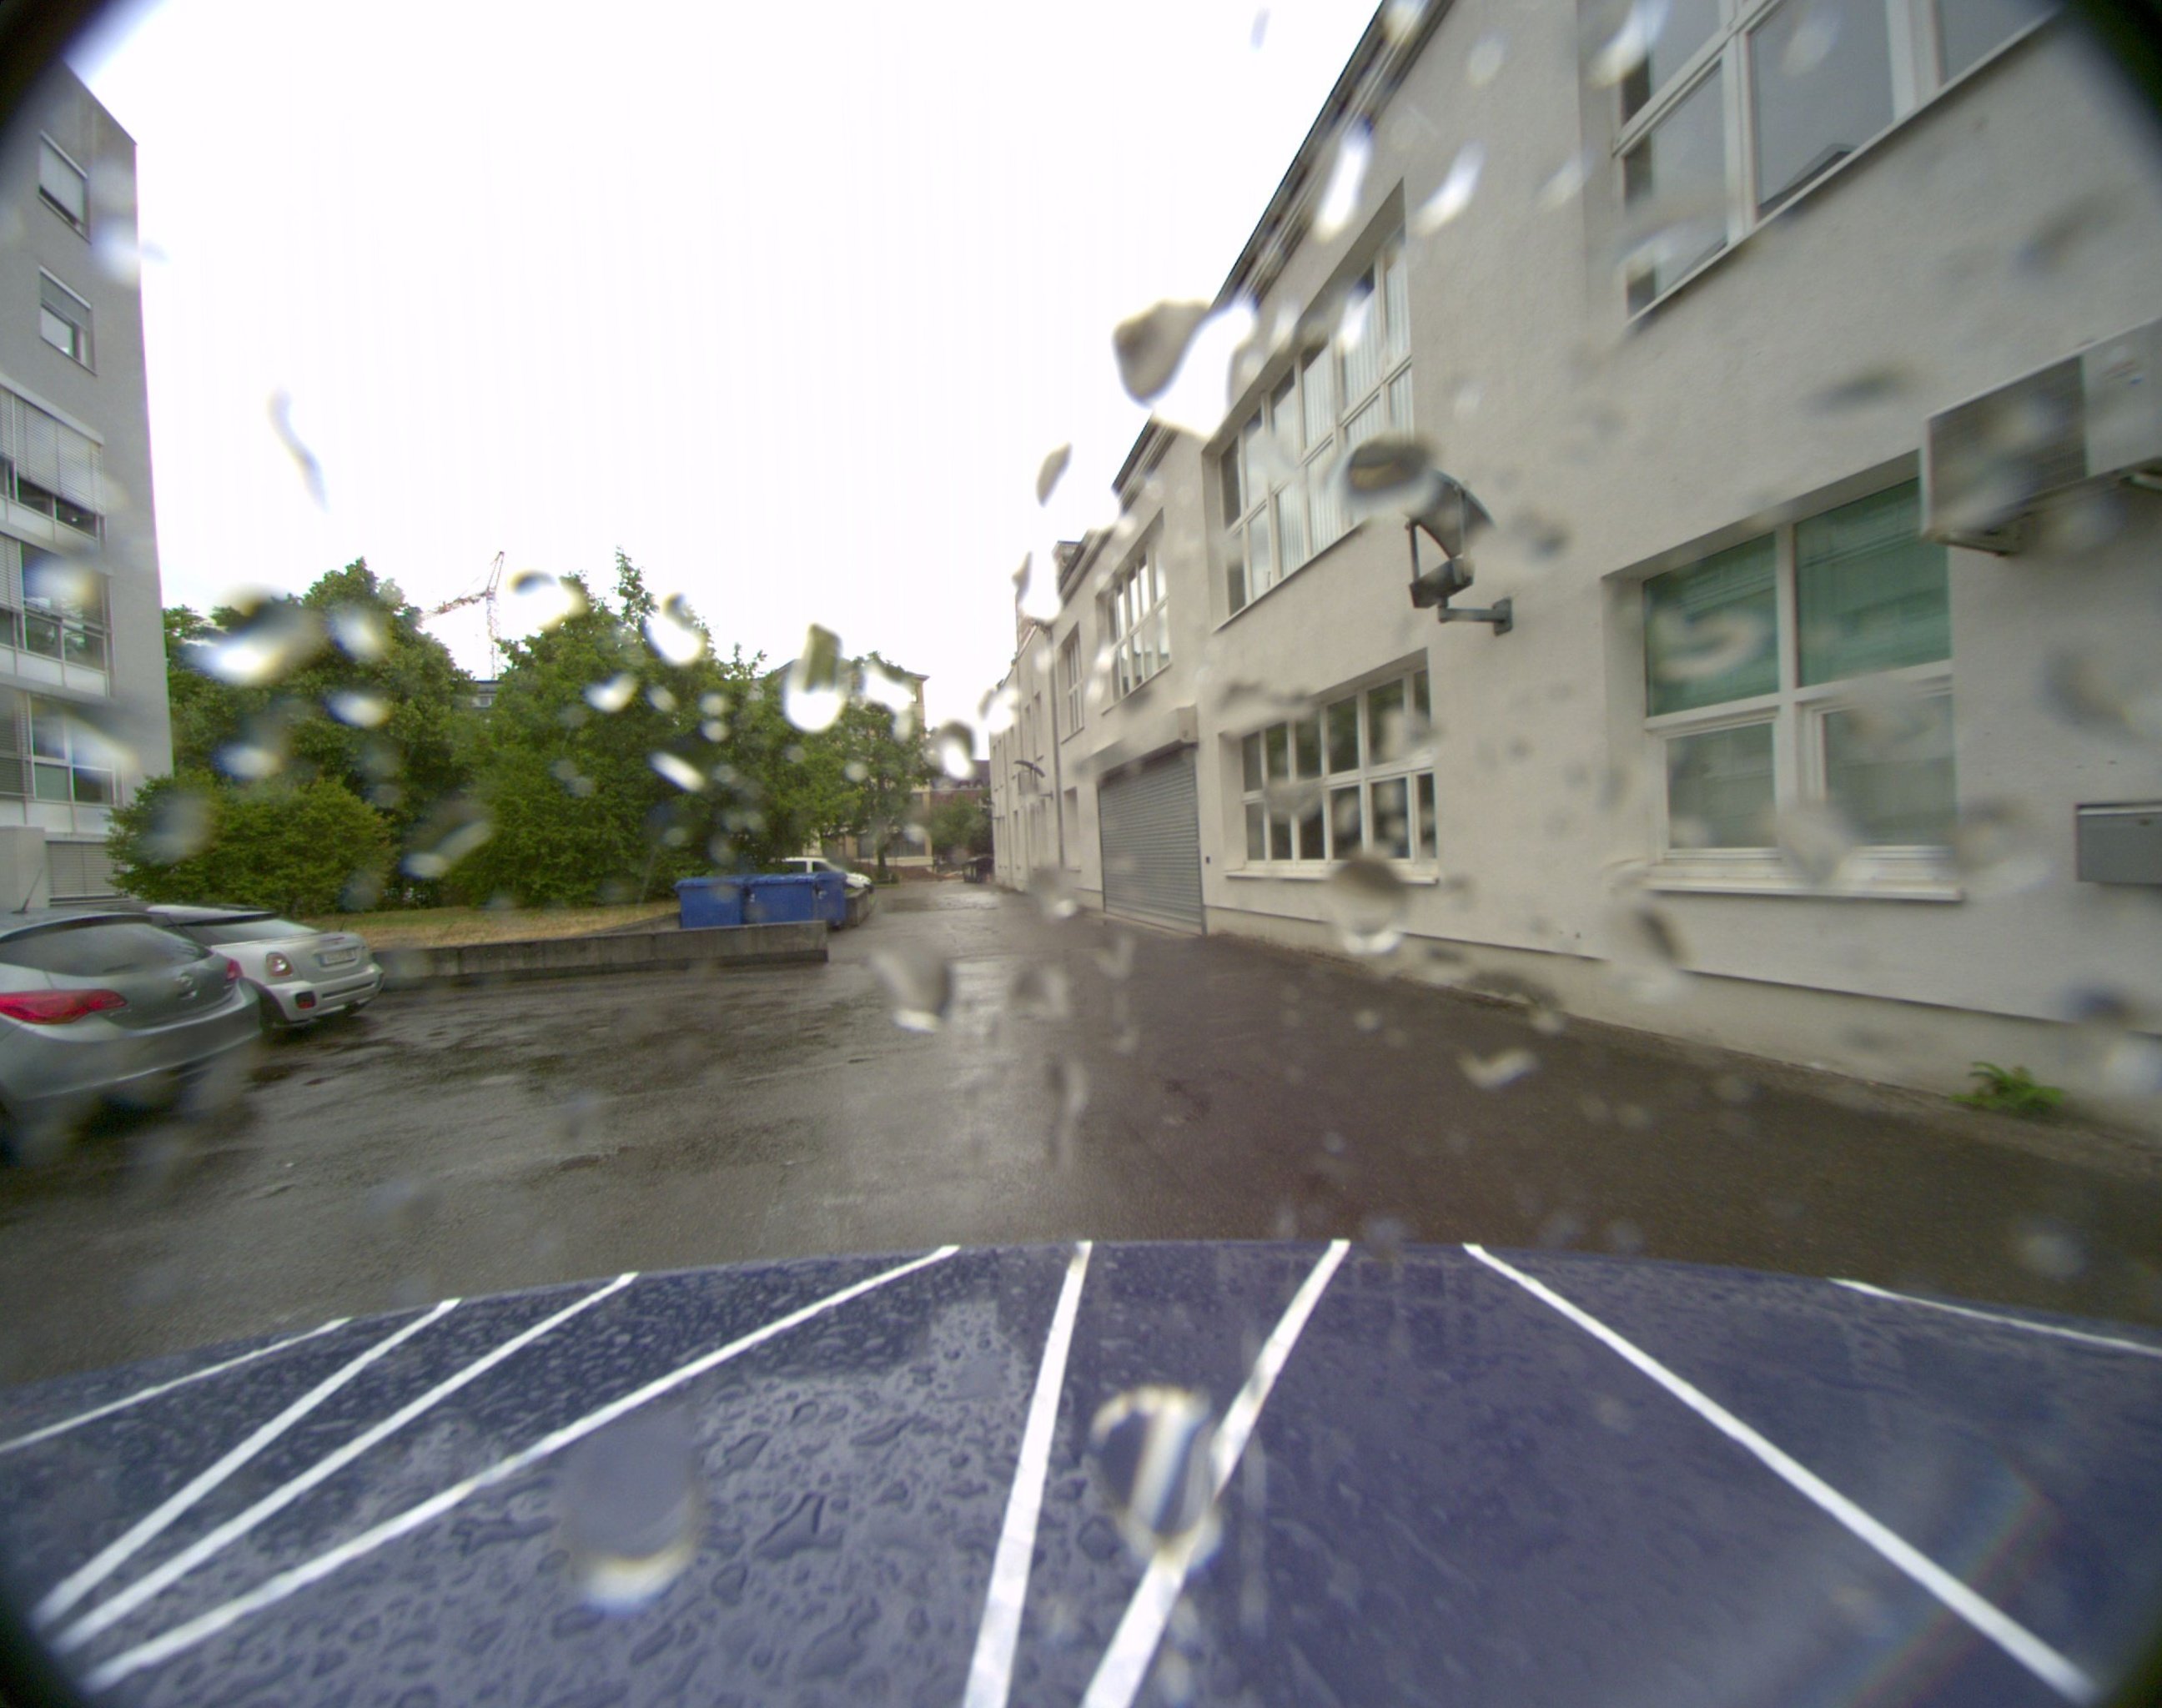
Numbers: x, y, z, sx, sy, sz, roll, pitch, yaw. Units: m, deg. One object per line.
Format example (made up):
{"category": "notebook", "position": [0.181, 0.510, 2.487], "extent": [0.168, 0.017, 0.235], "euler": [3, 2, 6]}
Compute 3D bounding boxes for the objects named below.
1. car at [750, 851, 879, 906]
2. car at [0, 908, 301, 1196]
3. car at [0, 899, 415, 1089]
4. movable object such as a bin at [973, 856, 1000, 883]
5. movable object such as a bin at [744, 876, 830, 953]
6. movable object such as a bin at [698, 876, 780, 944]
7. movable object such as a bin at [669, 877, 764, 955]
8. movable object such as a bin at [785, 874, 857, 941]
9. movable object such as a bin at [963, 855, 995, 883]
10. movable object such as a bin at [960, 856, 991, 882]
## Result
{"category": "car", "position": [-10.918, 1.021, 31.503], "extent": [4.698, 1.870, 2.122], "euler": [-4, -2, -11]}
{"category": "car", "position": [-8.097, 1.264, 4.584], "extent": [4.223, 1.481, 1.997], "euler": [-3, 0, -17]}
{"category": "car", "position": [-9.622, 1.288, 7.413], "extent": [4.223, 1.481, 1.998], "euler": [-1, -1, -15]}
{"category": "movable object such as a bin", "position": [-5.295, 0.862, 42.380], "extent": [1.189, 1.365, 1.312], "euler": [-4, -1, -18]}
{"category": "movable object such as a bin", "position": [-5.928, 1.189, 15.486], "extent": [1.314, 1.349, 1.903], "euler": [-4, -1, -14]}
{"category": "movable object such as a bin", "position": [-7.649, 1.219, 17.120], "extent": [1.234, 1.349, 1.969], "euler": [-4, -1, -14]}
{"category": "movable object such as a bin", "position": [-7.215, 1.192, 15.170], "extent": [1.234, 1.349, 1.969], "euler": [-4, -1, -14]}
{"category": "movable object such as a bin", "position": [-5.925, 1.184, 17.456], "extent": [1.314, 1.349, 1.903], "euler": [-4, -1, -14]}
{"category": "movable object such as a bin", "position": [-5.875, 0.864, 43.821], "extent": [1.493, 1.439, 1.312], "euler": [-4, -1, -18]}
{"category": "movable object such as a bin", "position": [-6.279, 0.891, 45.107], "extent": [1.493, 1.439, 1.312], "euler": [-4, -1, -18]}
